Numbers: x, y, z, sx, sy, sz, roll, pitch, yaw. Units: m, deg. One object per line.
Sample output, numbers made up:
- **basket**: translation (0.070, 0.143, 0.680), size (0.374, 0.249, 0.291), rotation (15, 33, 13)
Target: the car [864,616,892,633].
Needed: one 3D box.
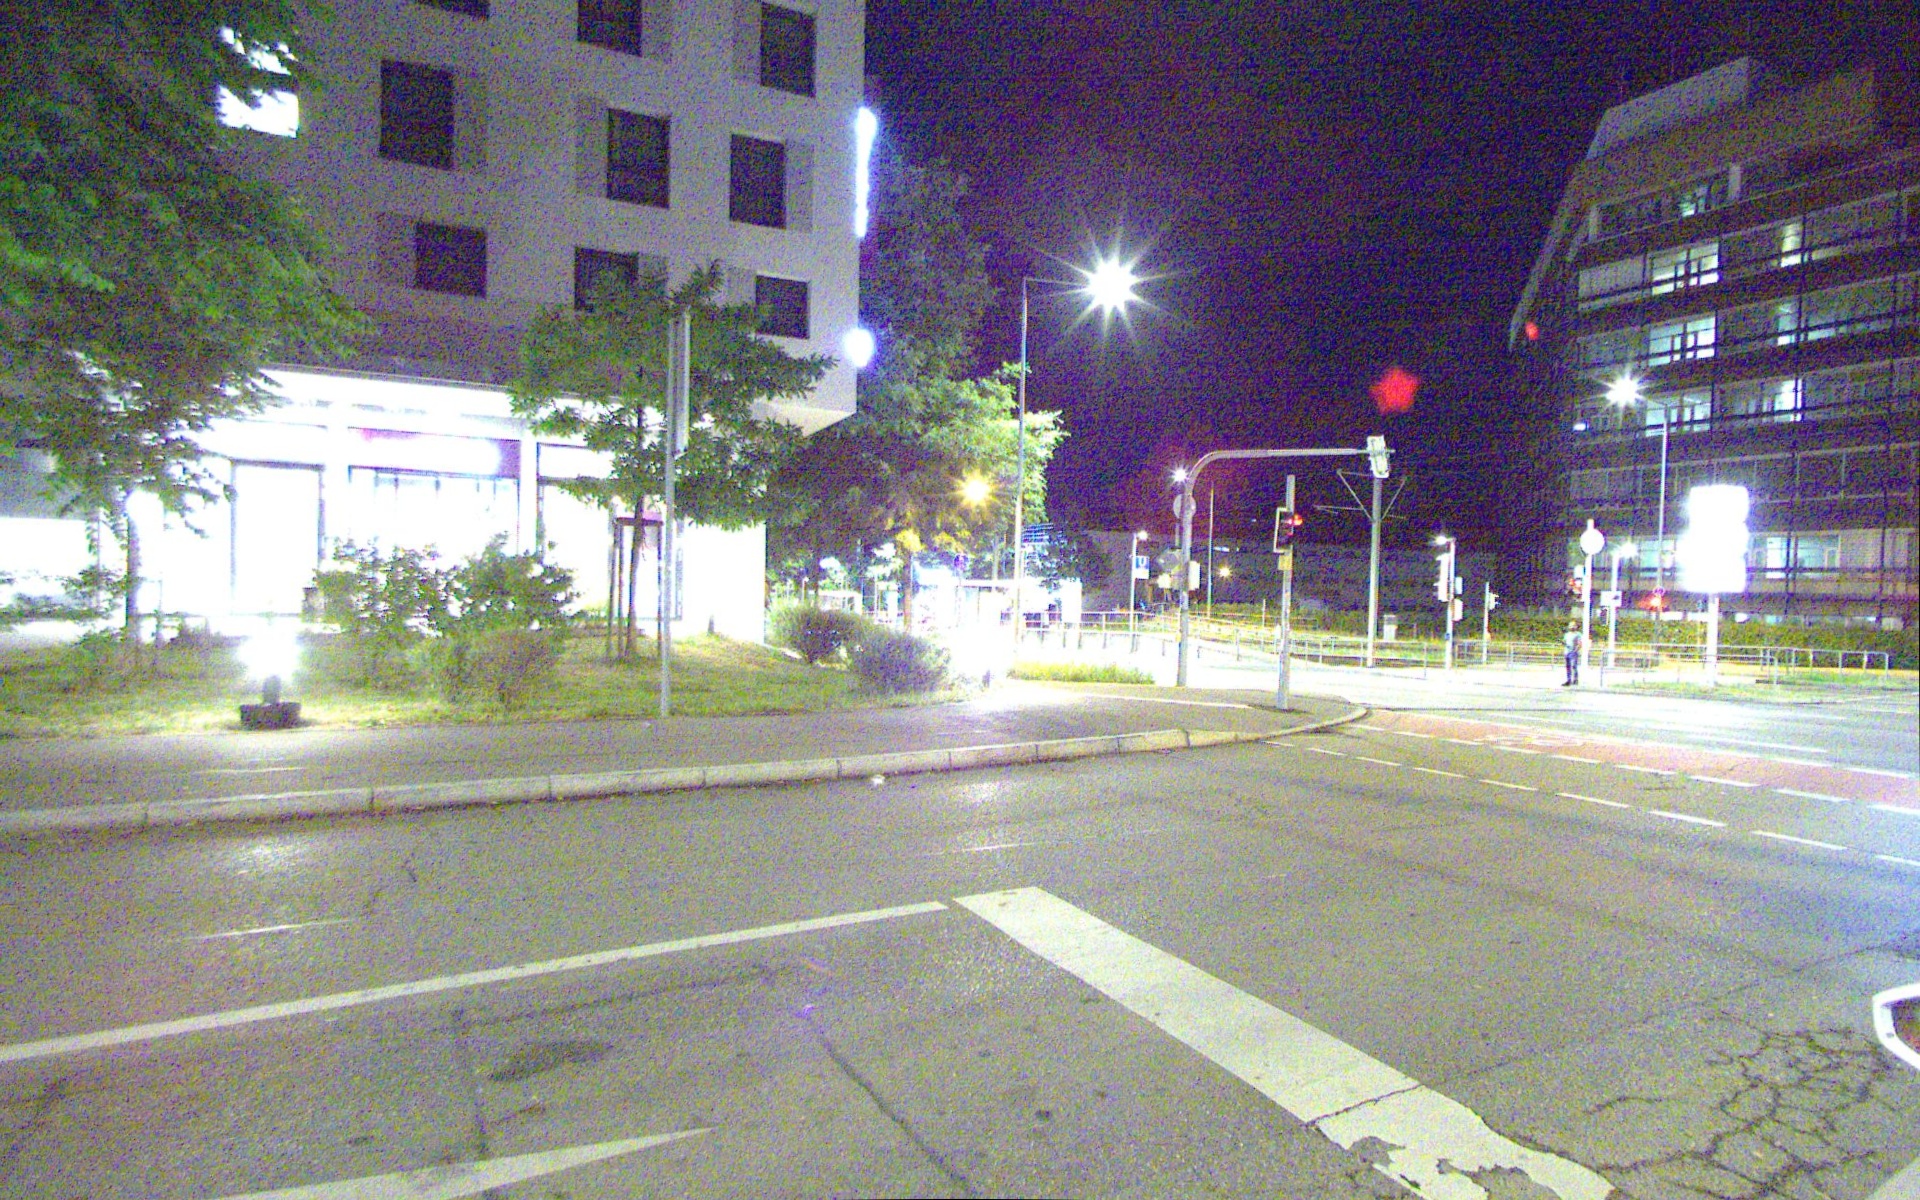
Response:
- **car**: translation (-10.165, 3.070, 123.958), size (1.976, 2.040, 3.971), rotation (2, -3, -29)

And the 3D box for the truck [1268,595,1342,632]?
- **truck**: translation (30.745, 1.168, 89.686), size (2.877, 3.129, 5.873), rotation (2, 0, -28)

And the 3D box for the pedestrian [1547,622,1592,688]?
- **pedestrian**: translation (15.654, 1.405, 25.793), size (0.854, 1.656, 0.665), rotation (2, 0, -34)

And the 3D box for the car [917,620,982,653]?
- **car**: translation (-0.569, 1.775, 49.753), size (1.793, 1.522, 4.177), rotation (0, -1, -23)
